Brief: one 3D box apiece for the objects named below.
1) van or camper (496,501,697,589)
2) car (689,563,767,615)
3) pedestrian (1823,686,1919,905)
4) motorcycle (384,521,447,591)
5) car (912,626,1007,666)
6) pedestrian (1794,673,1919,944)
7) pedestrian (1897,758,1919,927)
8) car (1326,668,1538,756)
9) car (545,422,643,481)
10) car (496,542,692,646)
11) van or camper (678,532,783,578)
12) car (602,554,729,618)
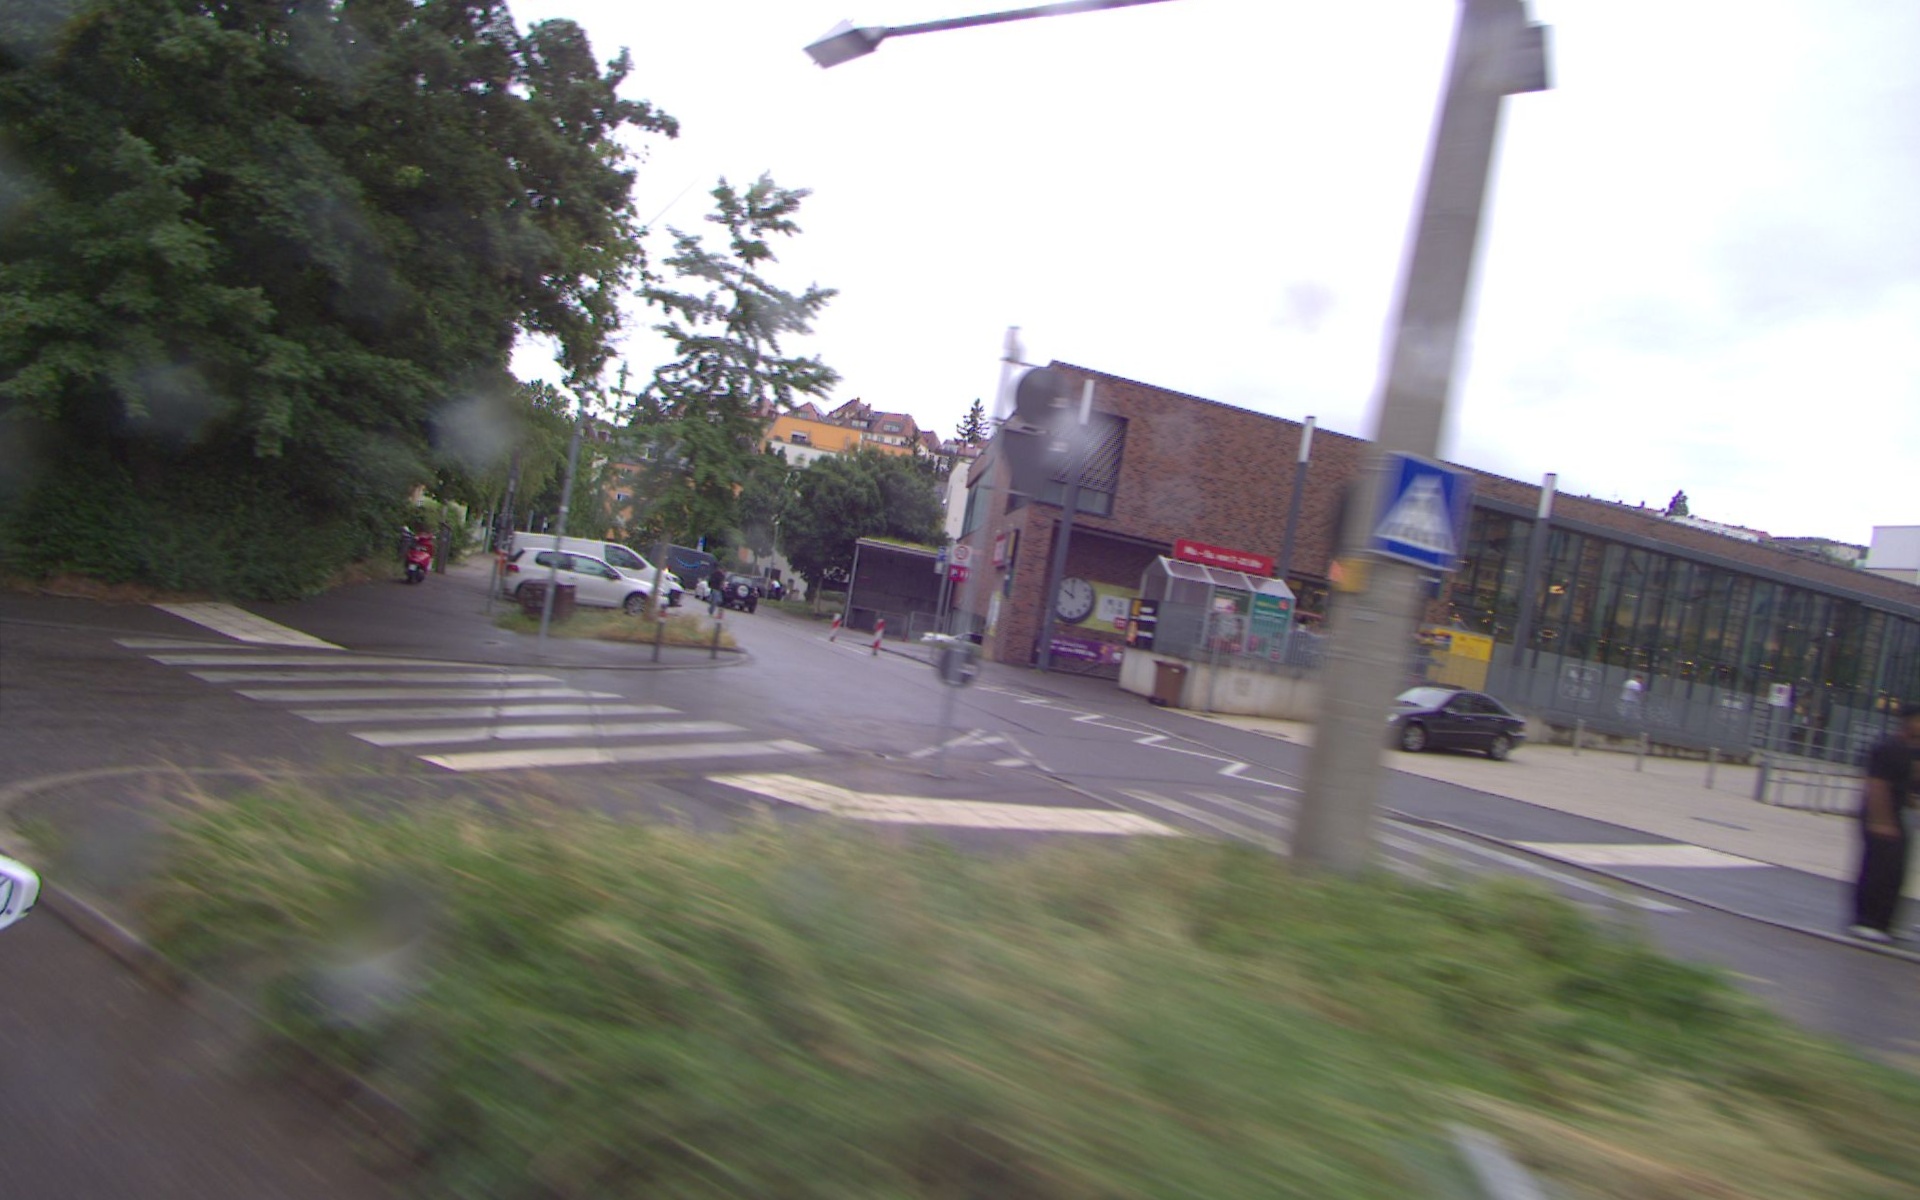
[{"bbox_3d":[-10.268,-1.533,28.787,5.102,1.858,1.992,6,1,-18],"label":"van or camper"},{"bbox_3d":[-11.224,-0.544,48.569,1.984,2.039,3.956,6,2,-39],"label":"car"},{"bbox_3d":[9.401,1.941,10.036,0.875,2.038,0.593,7,0,24],"label":"pedestrian"},{"bbox_3d":[-12.494,-0.995,23.138,0.815,1.390,2.417,11,-2,-23],"label":"motorcycle"},{"bbox_3d":[-0.051,2.049,45.035,3.932,1.259,1.998,8,-1,-8],"label":"car"},{"bbox_3d":[7.539,1.666,8.199,0.771,2.040,0.684,5,1,16],"label":"pedestrian"},{"bbox_3d":[8.686,1.807,8.418,0.875,2.040,0.592,7,2,24],"label":"pedestrian"},{"bbox_3d":[10.276,2.437,21.930,3.948,1.376,1.988,7,1,-24],"label":"car"},{"bbox_3d":[-16.678,-6.730,45.949,3.944,1.794,1.838,8,1,-20],"label":"car"},{"bbox_3d":[-9.511,-0.128,26.232,4.450,2.037,1.990,8,-1,-23],"label":"car"},{"bbox_3d":[-13.785,-2.698,60.727,1.974,2.039,5.908,8,1,45],"label":"van or camper"},{"bbox_3d":[-9.819,-0.469,33.466,3.848,1.706,1.729,5,1,-21],"label":"car"}]
